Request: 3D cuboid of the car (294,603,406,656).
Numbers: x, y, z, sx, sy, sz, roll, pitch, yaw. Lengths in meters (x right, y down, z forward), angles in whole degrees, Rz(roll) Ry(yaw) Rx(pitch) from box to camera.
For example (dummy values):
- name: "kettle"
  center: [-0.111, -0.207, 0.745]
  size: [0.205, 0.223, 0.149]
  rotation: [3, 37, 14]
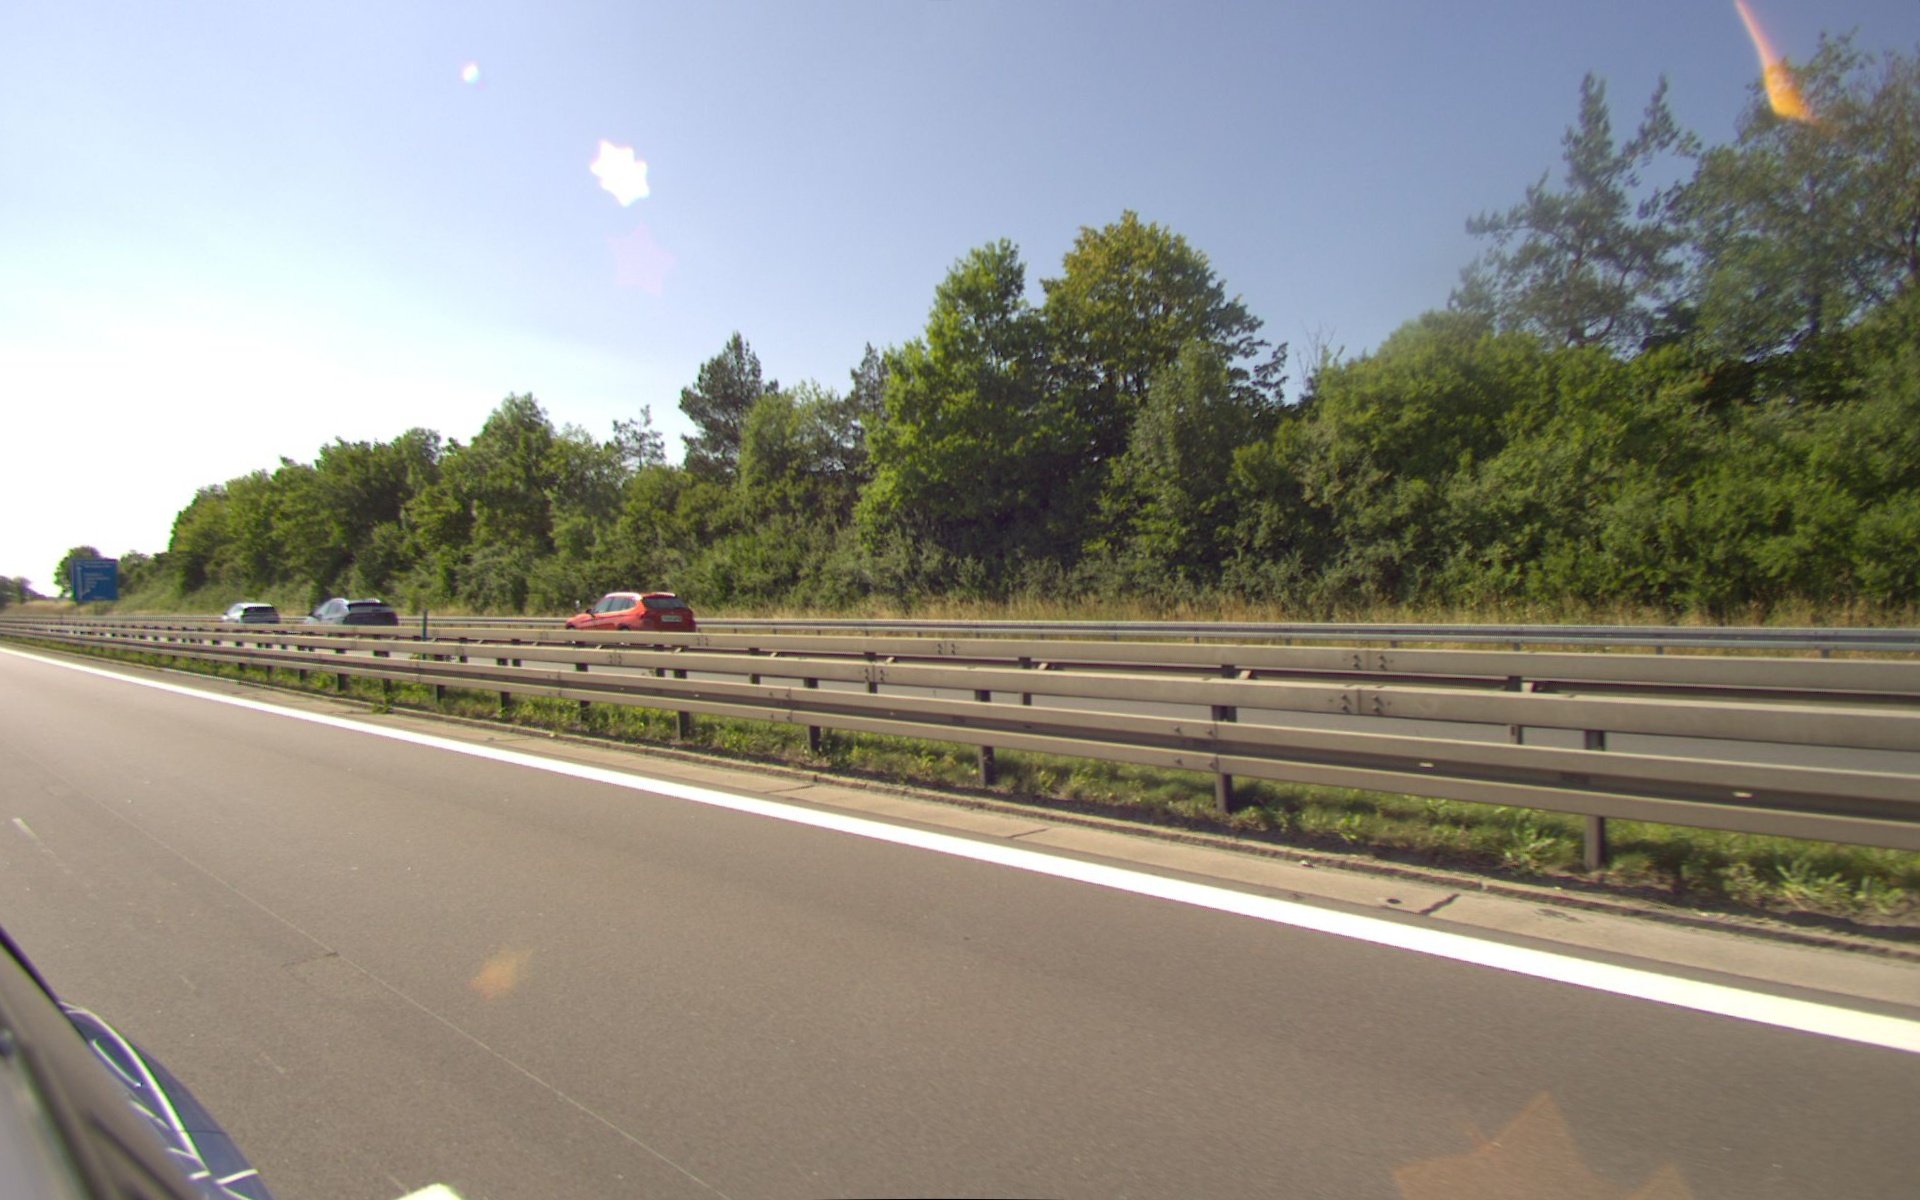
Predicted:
- name: "car"
  center: [-18.830, 0.880, 31.162]
  size: [4.536, 1.504, 1.632]
  rotation: [-1, 0, 41]

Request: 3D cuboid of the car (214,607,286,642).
- name: "car"
  center: [-35.403, 1.225, 50.415]
  size: [4.635, 1.624, 1.972]
  rotation: [-1, 0, 42]

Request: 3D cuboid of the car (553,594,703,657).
- name: "car"
  center: [-8.781, 0.649, 26.548]
  size: [4.536, 1.504, 1.632]
  rotation: [-1, 0, 41]
